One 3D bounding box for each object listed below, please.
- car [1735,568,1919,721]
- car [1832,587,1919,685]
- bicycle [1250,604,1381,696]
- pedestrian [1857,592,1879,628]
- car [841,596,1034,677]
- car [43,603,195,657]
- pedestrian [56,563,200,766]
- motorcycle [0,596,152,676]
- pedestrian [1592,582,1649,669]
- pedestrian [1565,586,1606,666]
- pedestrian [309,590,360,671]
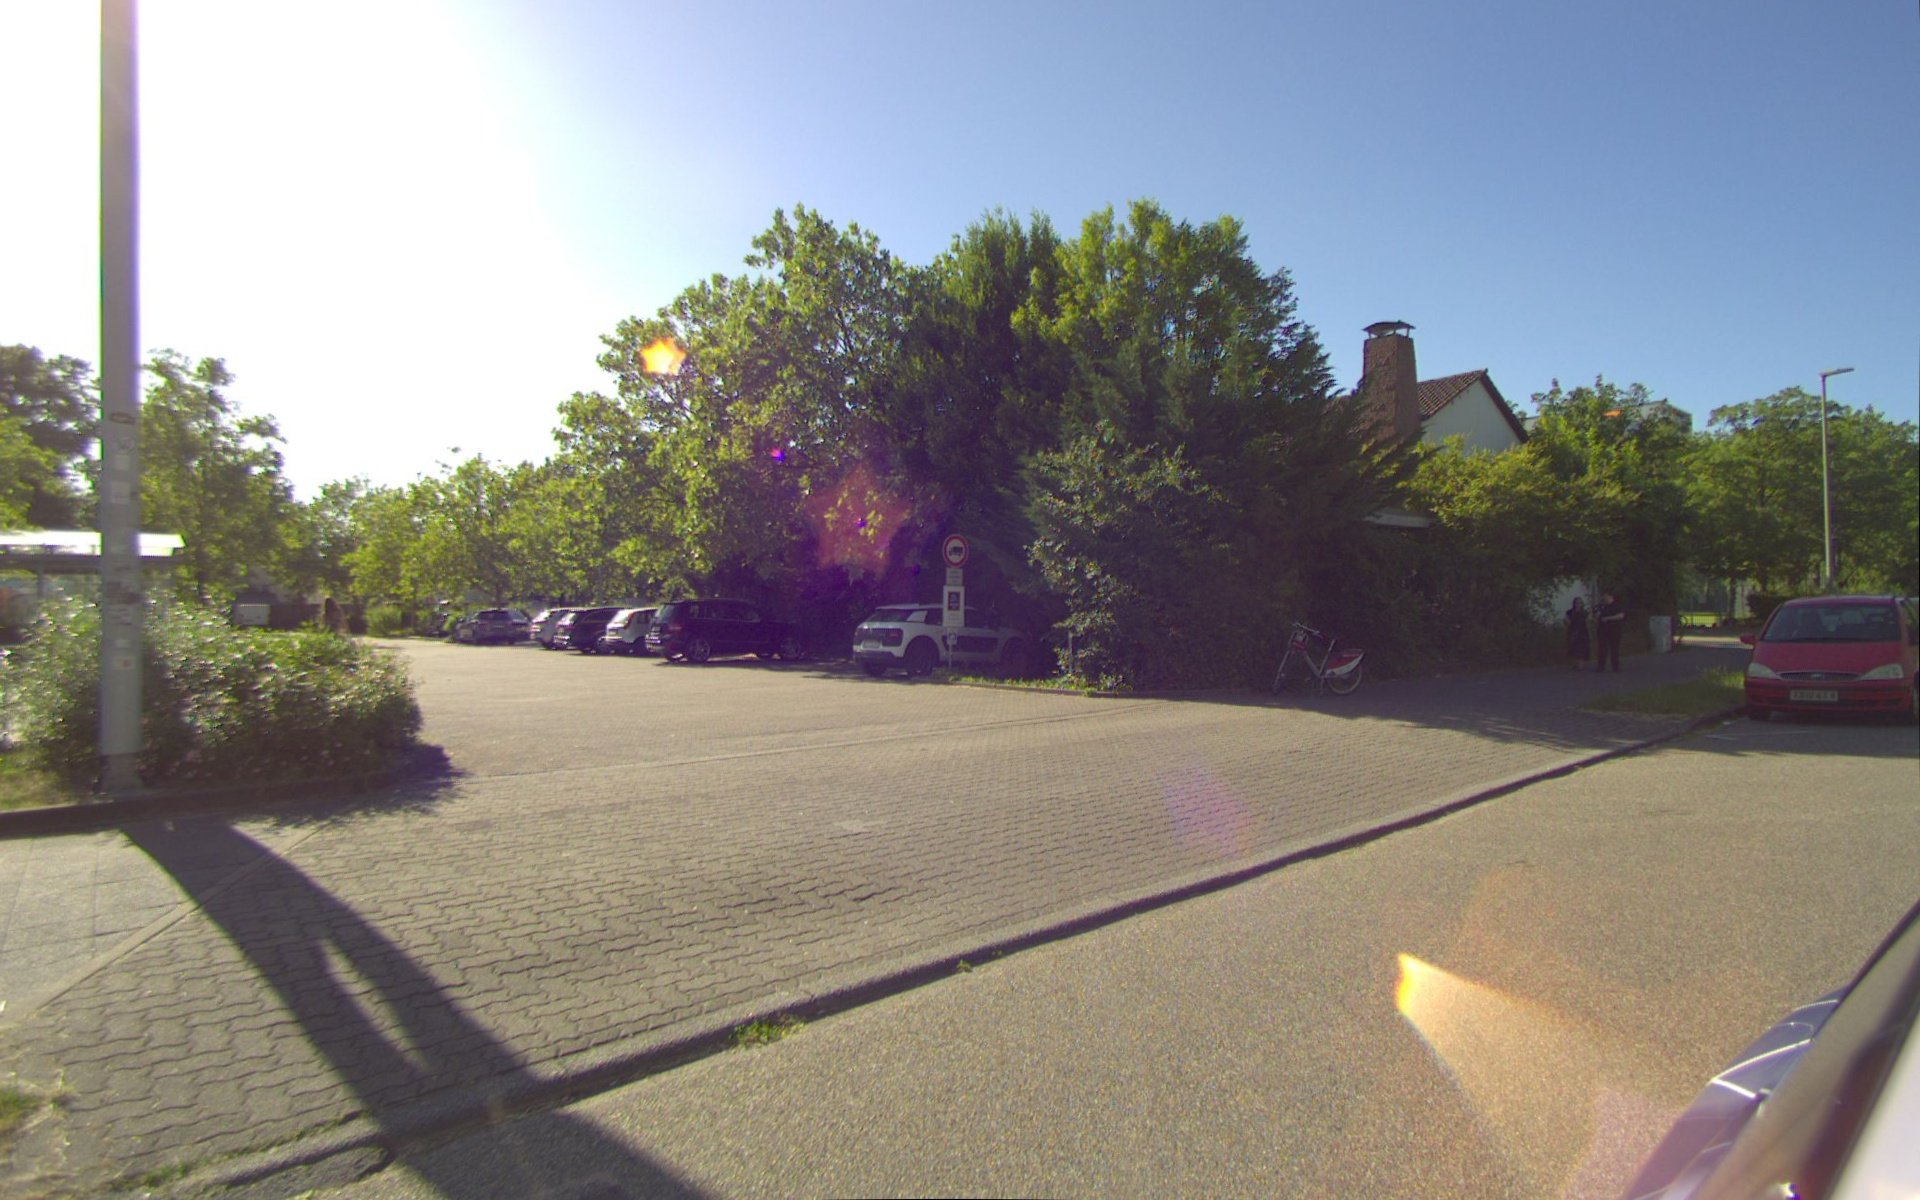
[{"bbox_3d":[12.675,0.536,14.241,4.571,1.828,1.843,0,-1,-40],"label":"car"},{"bbox_3d":[17.733,0.609,18.813,4.277,1.677,1.727,0,-1,-41],"label":"car"},{"bbox_3d":[5.259,0.711,14.967,1.857,1.236,0.724,-1,2,-25],"label":"bicycle"},{"bbox_3d":[42.358,0.456,47.231,0.629,1.659,0.641,0,-1,-38],"label":"pedestrian"},{"bbox_3d":[-0.417,0.688,20.903,3.736,1.522,1.775,0,-1,-41],"label":"car"},{"bbox_3d":[-28.858,0.991,34.855,3.929,1.728,1.997,0,-1,-41],"label":"car"},{"bbox_3d":[-7.131,0.528,8.719,0.760,1.652,0.695,0,-1,-20],"label":"pedestrian"},{"bbox_3d":[-17.789,0.688,20.225,2.552,1.528,0.871,0,-1,-41],"label":"motorcycle"},{"bbox_3d":[13.706,0.501,21.000,0.968,1.738,0.804,-2,2,-44],"label":"pedestrian"},{"bbox_3d":[13.242,0.534,21.414,0.780,1.629,0.573,-2,2,-44],"label":"pedestrian"},{"bbox_3d":[-13.397,0.639,21.674,0.814,1.677,0.672,0,-1,-42],"label":"pedestrian"}]
